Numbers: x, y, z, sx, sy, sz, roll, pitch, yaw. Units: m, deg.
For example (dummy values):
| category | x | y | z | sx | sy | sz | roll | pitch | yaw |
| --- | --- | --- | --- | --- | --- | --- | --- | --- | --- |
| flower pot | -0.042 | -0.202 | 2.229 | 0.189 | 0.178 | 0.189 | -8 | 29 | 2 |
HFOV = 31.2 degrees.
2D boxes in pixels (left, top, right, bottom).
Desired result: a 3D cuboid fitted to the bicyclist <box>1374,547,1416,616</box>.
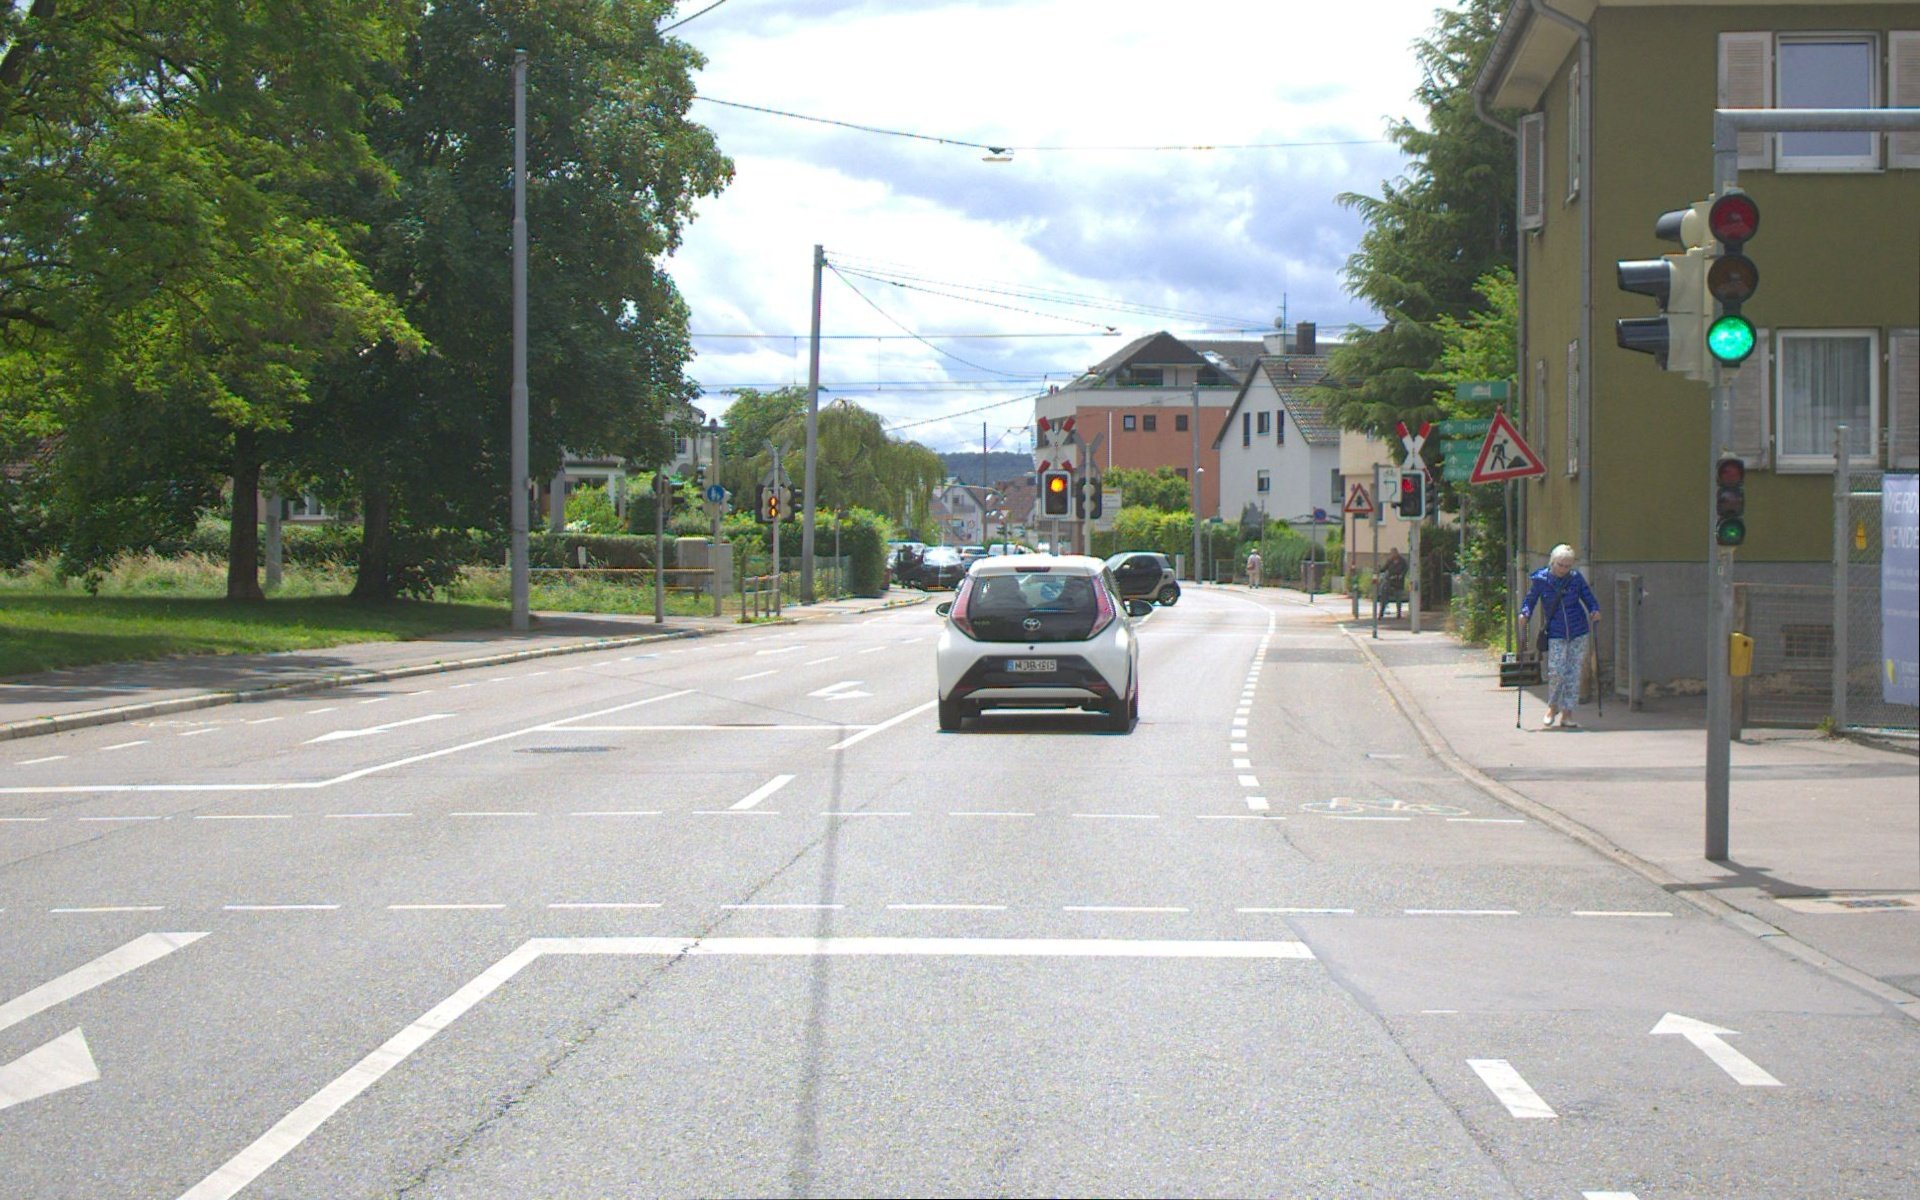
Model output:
| category | x | y | z | sx | sy | sz | roll | pitch | yaw |
| --- | --- | --- | --- | --- | --- | --- | --- | --- | --- |
| bicyclist | 10.214 | -0.438 | 80.751 | 0.840 | 1.548 | 0.756 | -3 | 3 | 0 |

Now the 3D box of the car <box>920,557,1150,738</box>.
| category | x | y | z | sx | sy | sz | roll | pitch | yaw |
| --- | --- | --- | --- | --- | --- | --- | --- | --- | --- |
| car | 0.709 | 0.366 | 29.780 | 1.721 | 1.437 | 3.708 | 1 | 1 | 5 |

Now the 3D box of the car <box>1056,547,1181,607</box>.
| category | x | y | z | sx | sy | sz | roll | pitch | yaw |
| --- | --- | --- | --- | --- | --- | --- | --- | --- | --- |
| car | 4.531 | -0.661 | 98.713 | 3.348 | 1.650 | 1.728 | 1 | 1 | -5 |

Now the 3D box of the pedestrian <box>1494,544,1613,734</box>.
| category | x | y | z | sx | sy | sz | roll | pitch | yaw |
| --- | --- | --- | --- | --- | --- | --- | --- | --- | --- |
| pedestrian | 5.013 | 0.321 | 29.104 | 0.823 | 1.567 | 0.988 | -1 | 1 | 1 |

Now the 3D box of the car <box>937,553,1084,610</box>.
| category | x | y | z | sx | sy | sz | roll | pitch | yaw |
| --- | --- | --- | --- | --- | --- | --- | --- | --- | --- |
| car | 1.353 | -0.481 | 89.971 | 1.909 | 1.436 | 4.090 | 2 | 1 | 34 |

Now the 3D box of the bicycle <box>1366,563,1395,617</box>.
| category | x | y | z | sx | sy | sz | roll | pitch | yaw |
| --- | --- | --- | --- | --- | --- | --- | --- | --- | --- |
| bicycle | 9.883 | -0.238 | 80.840 | 0.457 | 1.168 | 1.479 | -3 | 3 | 0 |

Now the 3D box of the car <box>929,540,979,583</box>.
| category | x | y | z | sx | sy | sz | roll | pitch | yaw |
| --- | --- | --- | --- | --- | --- | --- | --- | --- | --- |
| car | -0.249 | -1.586 | 141.271 | 1.993 | 1.713 | 4.000 | 1 | 1 | -1 |
